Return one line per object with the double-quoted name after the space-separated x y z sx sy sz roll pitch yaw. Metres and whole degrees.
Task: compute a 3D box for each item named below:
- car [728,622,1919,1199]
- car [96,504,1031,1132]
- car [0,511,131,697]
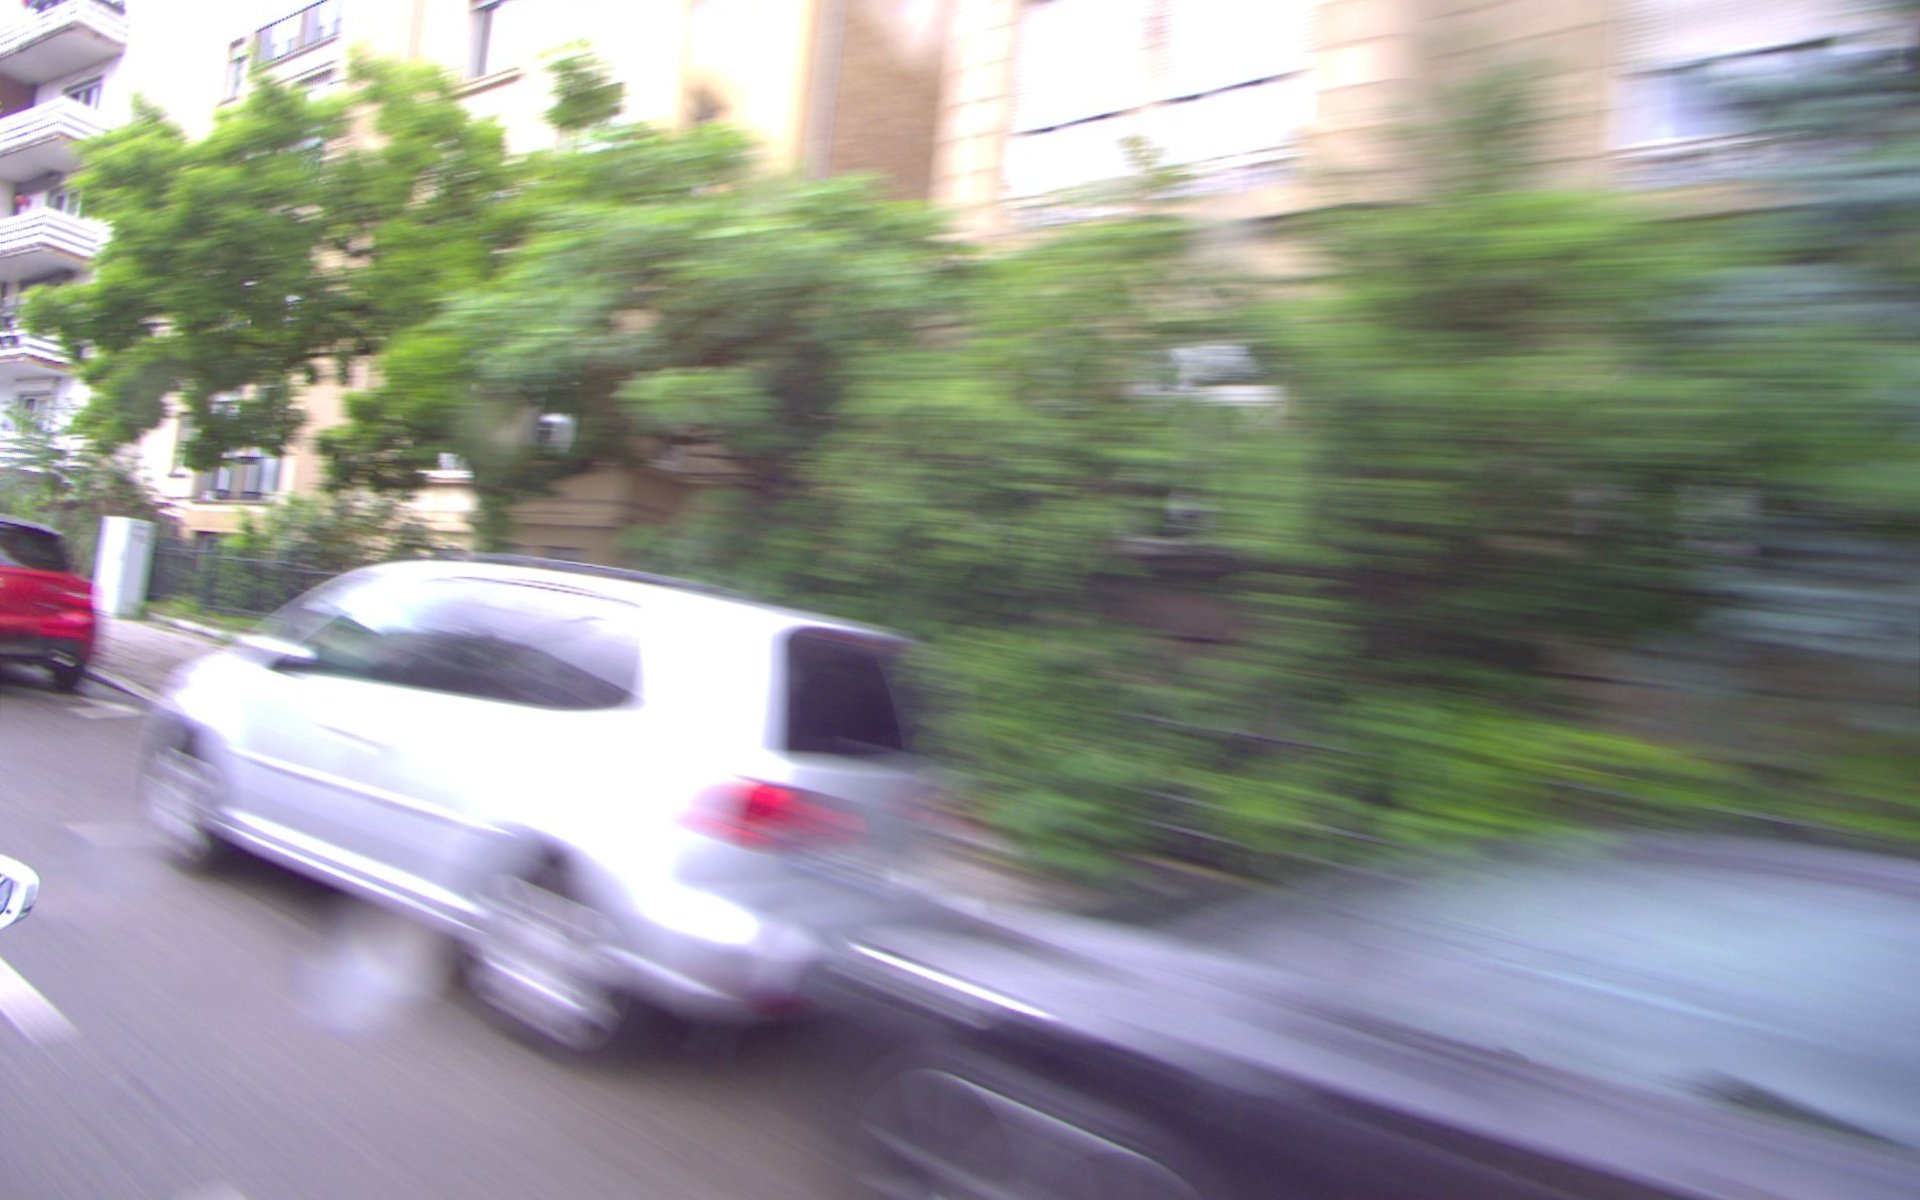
1.587 1.104 2.256 3.936 1.406 1.769 9 -2 35 "car"
-2.021 0.611 4.769 4.216 1.622 1.769 7 -1 30 "car"
-9.474 -0.165 9.198 3.778 1.453 1.726 7 -3 33 "car"
